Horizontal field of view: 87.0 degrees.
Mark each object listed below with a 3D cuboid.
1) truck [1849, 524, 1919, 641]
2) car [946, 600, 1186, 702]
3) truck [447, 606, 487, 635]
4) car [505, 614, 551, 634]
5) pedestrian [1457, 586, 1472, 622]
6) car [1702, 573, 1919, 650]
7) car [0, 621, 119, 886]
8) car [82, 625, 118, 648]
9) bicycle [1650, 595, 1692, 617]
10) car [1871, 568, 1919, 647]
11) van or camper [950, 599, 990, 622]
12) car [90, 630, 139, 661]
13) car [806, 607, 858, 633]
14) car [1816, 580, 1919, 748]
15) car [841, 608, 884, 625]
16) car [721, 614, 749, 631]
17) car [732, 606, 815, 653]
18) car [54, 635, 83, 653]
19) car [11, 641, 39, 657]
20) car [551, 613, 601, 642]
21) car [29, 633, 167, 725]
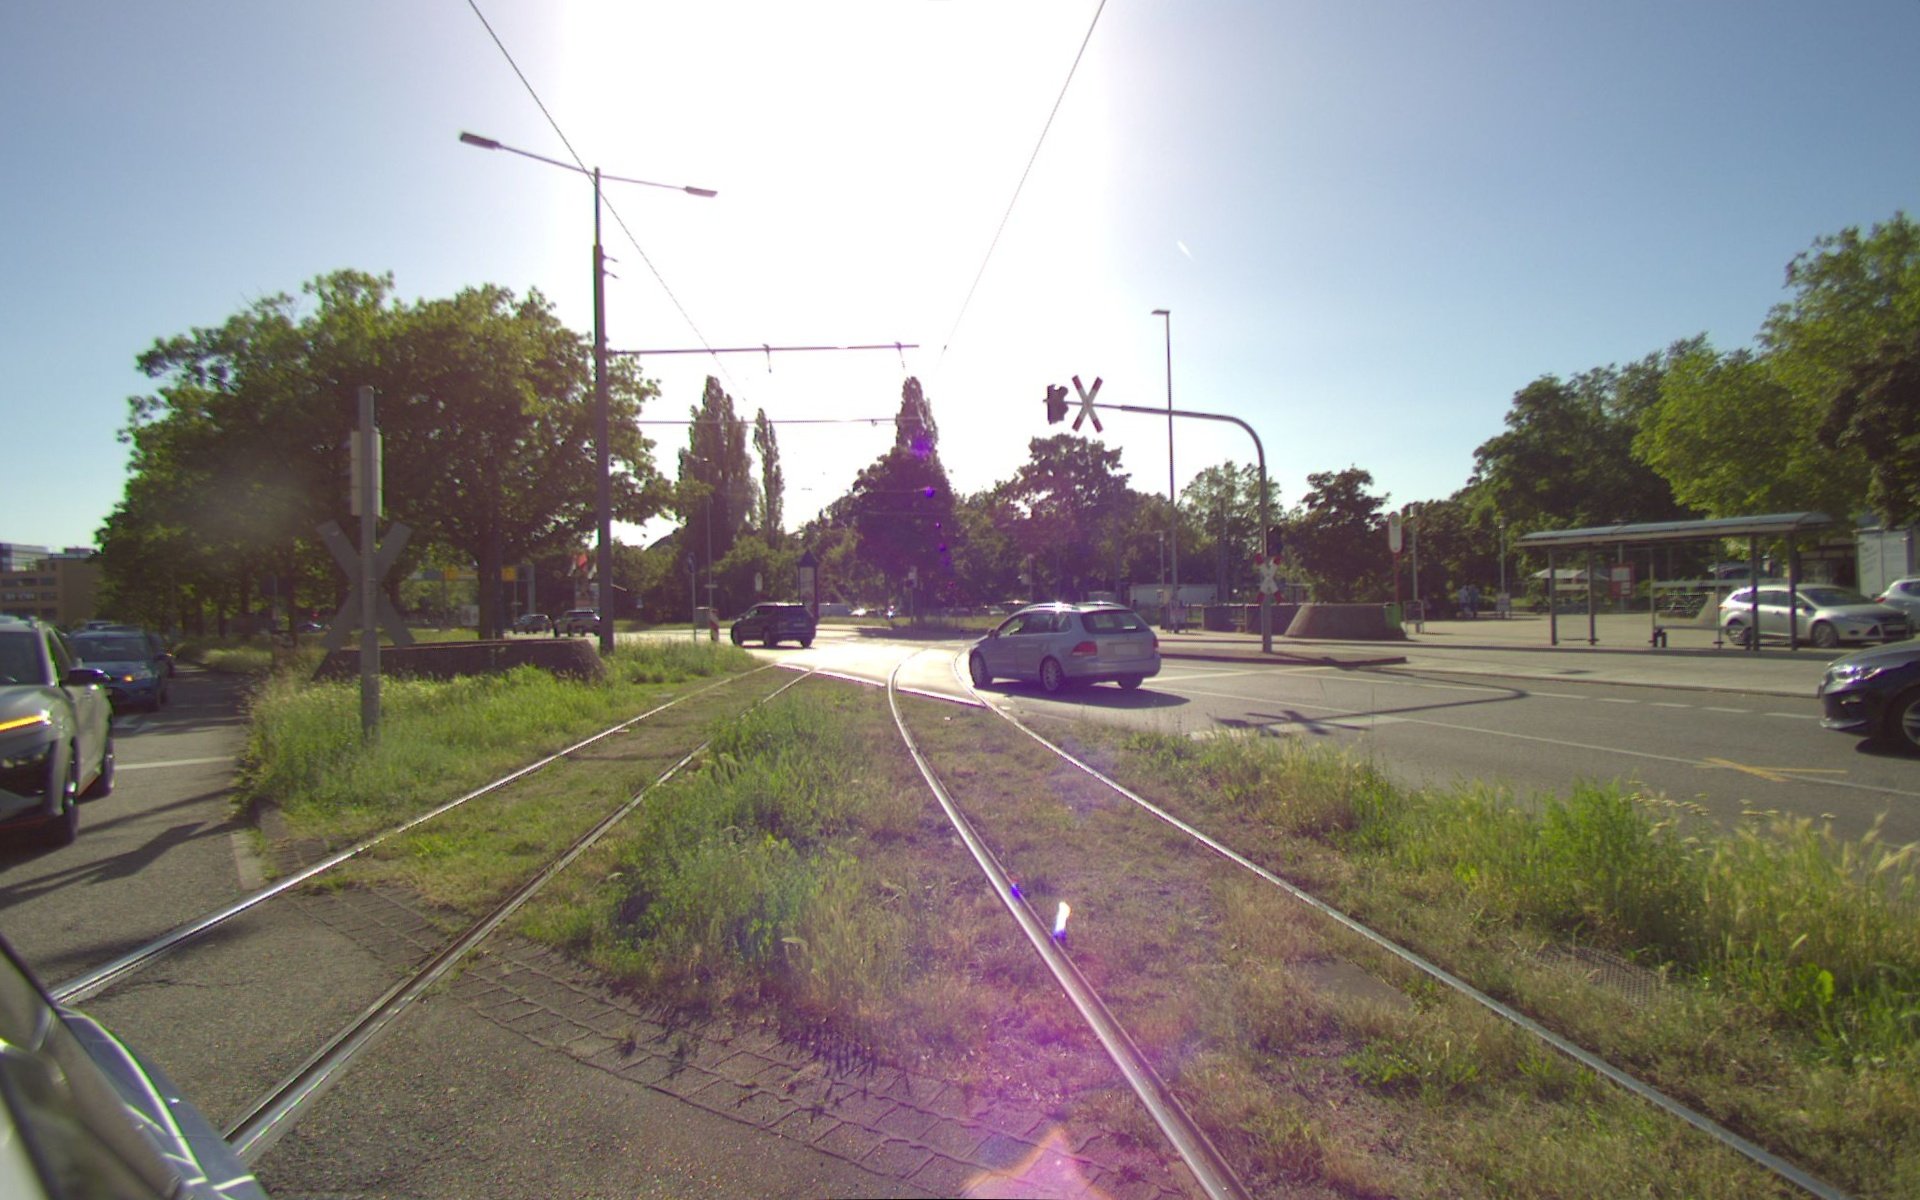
[{"bbox_3d":[27.065,-0.544,26.989,4.761,3.017,2.000,-2,-1,0],"label":"truck"},{"bbox_3d":[1.656,0.822,17.810,1.705,1.453,4.898,-3,0,-28],"label":"car"},{"bbox_3d":[-43.392,1.785,88.997,4.110,2.445,1.768,-2,0,44],"label":"truck"},{"bbox_3d":[-33.585,1.890,78.614,4.403,1.459,1.645,-2,0,44],"label":"car"},{"bbox_3d":[25.917,0.194,51.994,0.558,1.843,0.719,-2,0,34],"label":"pedestrian"},{"bbox_3d":[20.416,0.248,24.247,1.847,1.555,4.548,-4,0,1],"label":"car"},{"bbox_3d":[-7.387,0.976,7.274,1.752,1.563,3.989,-1,0,-36],"label":"car"},{"bbox_3d":[-63.640,2.670,74.931,1.718,1.560,4.008,-3,0,-37],"label":"car"},{"bbox_3d":[28.054,0.228,39.958,0.541,0.845,1.683,-2,0,4],"label":"bicycle"},{"bbox_3d":[23.072,0.107,22.318,1.734,1.730,4.011,-5,0,-15],"label":"car"},{"bbox_3d":[0.920,1.042,97.396,1.965,2.112,4.416,-2,0,-26],"label":"van or camper"},{"bbox_3d":[-41.975,2.230,50.305,1.755,1.416,4.007,-2,0,-39],"label":"car"},{"bbox_3d":[-10.782,1.650,85.607,2.224,2.029,4.963,-2,0,22],"label":"car"},{"bbox_3d":[9.592,0.487,7.990,1.640,1.402,4.153,-1,-1,-43],"label":"car"},{"bbox_3d":[-8.054,1.343,83.889,1.986,1.292,3.971,-2,0,22],"label":"car"},{"bbox_3d":[-20.607,2.081,92.658,1.790,1.459,4.013,-2,0,-23],"label":"car"},{"bbox_3d":[-7.227,1.116,38.862,1.728,1.626,4.738,-2,0,-28],"label":"car"},{"bbox_3d":[-76.189,3.739,86.488,1.802,1.484,4.005,-2,0,-42],"label":"car"},{"bbox_3d":[-93.316,4.879,101.004,1.969,1.544,4.005,-1,-1,-42],"label":"car"},{"bbox_3d":[-22.802,1.603,60.043,1.966,1.574,4.399,-2,0,-32],"label":"car"},{"bbox_3d":[-16.254,1.412,19.244,1.684,1.475,4.009,-1,-1,-36],"label":"car"}]
